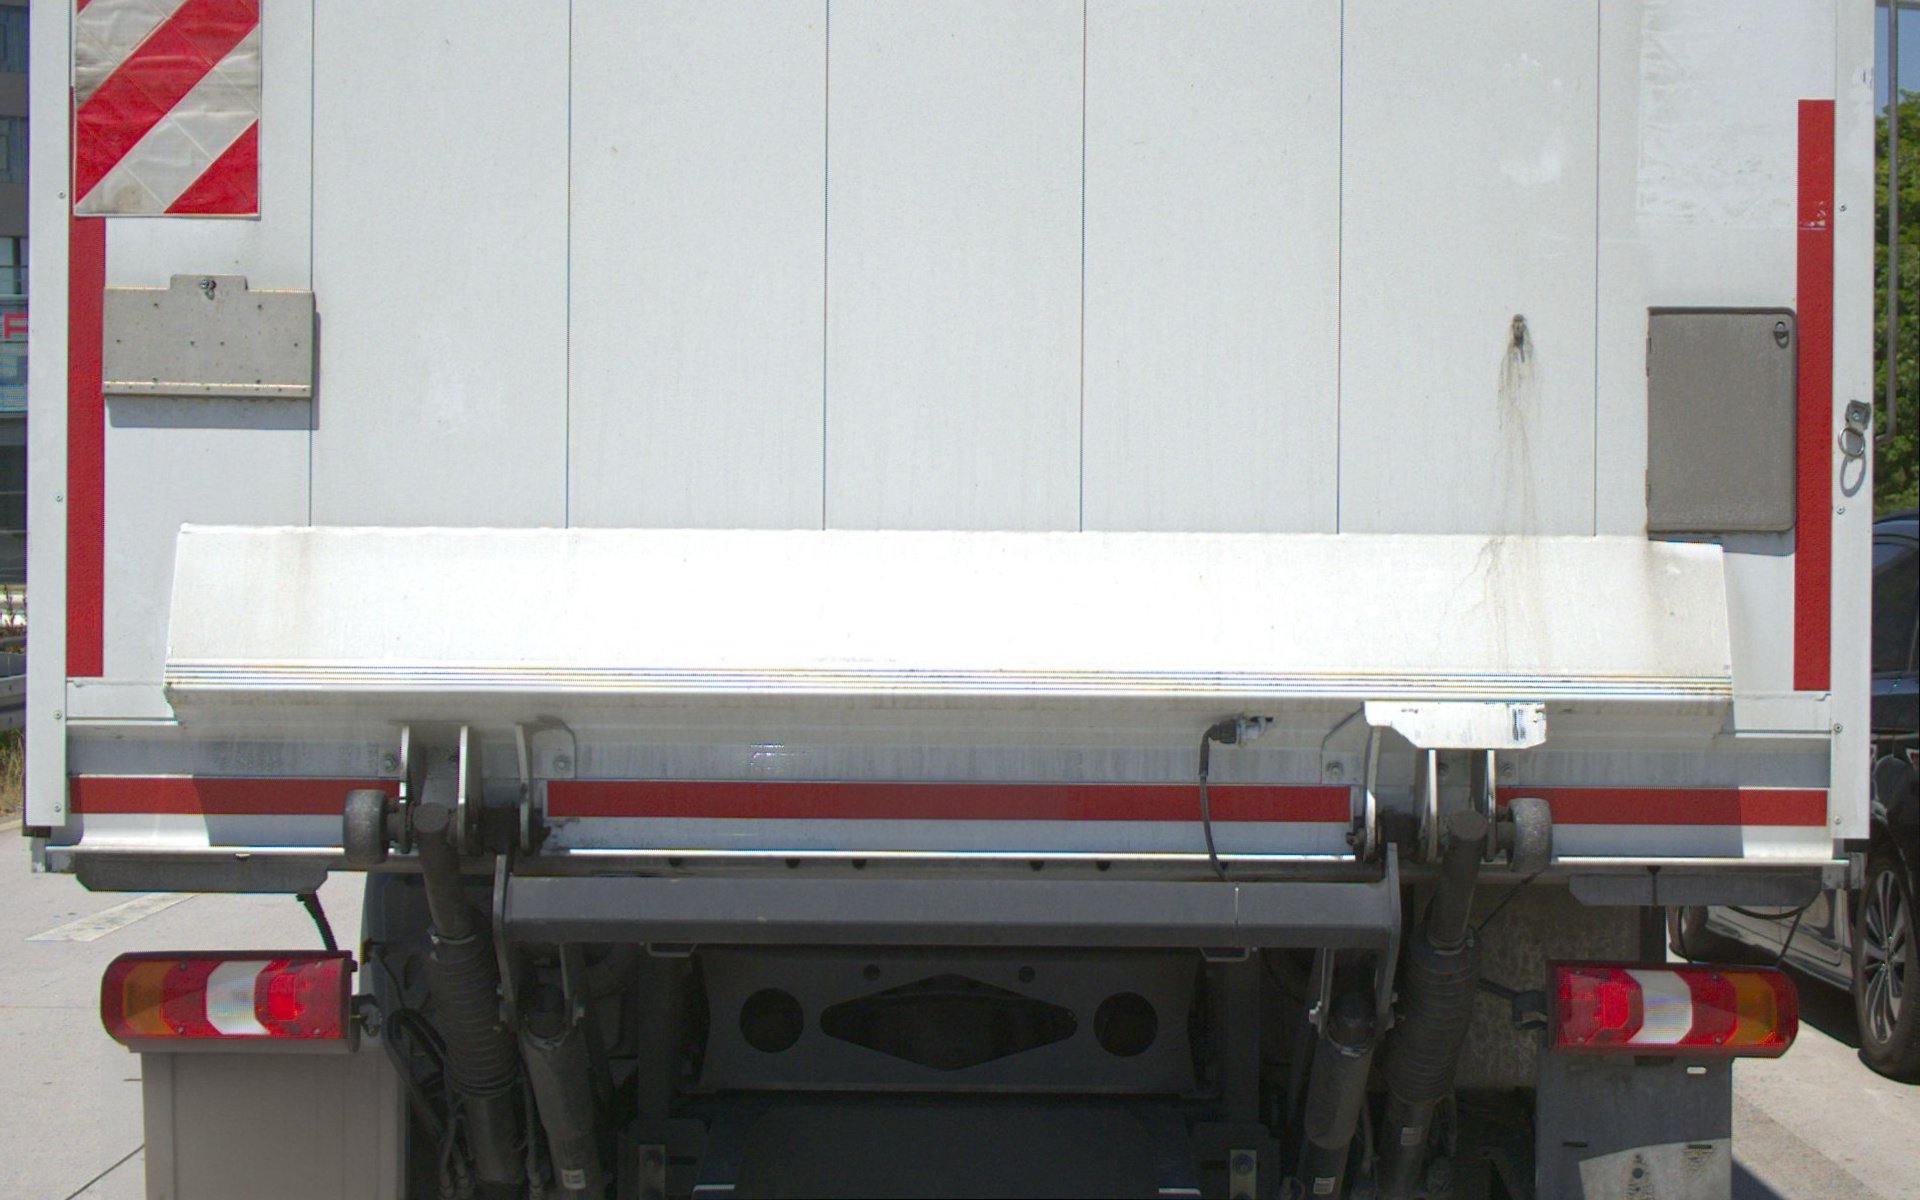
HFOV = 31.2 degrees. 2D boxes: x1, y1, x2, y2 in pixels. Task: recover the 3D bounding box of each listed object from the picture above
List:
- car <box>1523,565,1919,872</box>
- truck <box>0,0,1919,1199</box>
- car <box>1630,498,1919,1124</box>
[{"bbox_3d":[4.176,0.532,18.239,1.768,1.405,4.609,1,1,2],"label":"car"},{"bbox_3d":[-0.005,-0.551,9.154,2.769,3.846,9.371,1,1,-1],"label":"truck"},{"bbox_3d":[3.459,0.542,11.068,1.784,1.634,4.647,1,1,1],"label":"car"}]
